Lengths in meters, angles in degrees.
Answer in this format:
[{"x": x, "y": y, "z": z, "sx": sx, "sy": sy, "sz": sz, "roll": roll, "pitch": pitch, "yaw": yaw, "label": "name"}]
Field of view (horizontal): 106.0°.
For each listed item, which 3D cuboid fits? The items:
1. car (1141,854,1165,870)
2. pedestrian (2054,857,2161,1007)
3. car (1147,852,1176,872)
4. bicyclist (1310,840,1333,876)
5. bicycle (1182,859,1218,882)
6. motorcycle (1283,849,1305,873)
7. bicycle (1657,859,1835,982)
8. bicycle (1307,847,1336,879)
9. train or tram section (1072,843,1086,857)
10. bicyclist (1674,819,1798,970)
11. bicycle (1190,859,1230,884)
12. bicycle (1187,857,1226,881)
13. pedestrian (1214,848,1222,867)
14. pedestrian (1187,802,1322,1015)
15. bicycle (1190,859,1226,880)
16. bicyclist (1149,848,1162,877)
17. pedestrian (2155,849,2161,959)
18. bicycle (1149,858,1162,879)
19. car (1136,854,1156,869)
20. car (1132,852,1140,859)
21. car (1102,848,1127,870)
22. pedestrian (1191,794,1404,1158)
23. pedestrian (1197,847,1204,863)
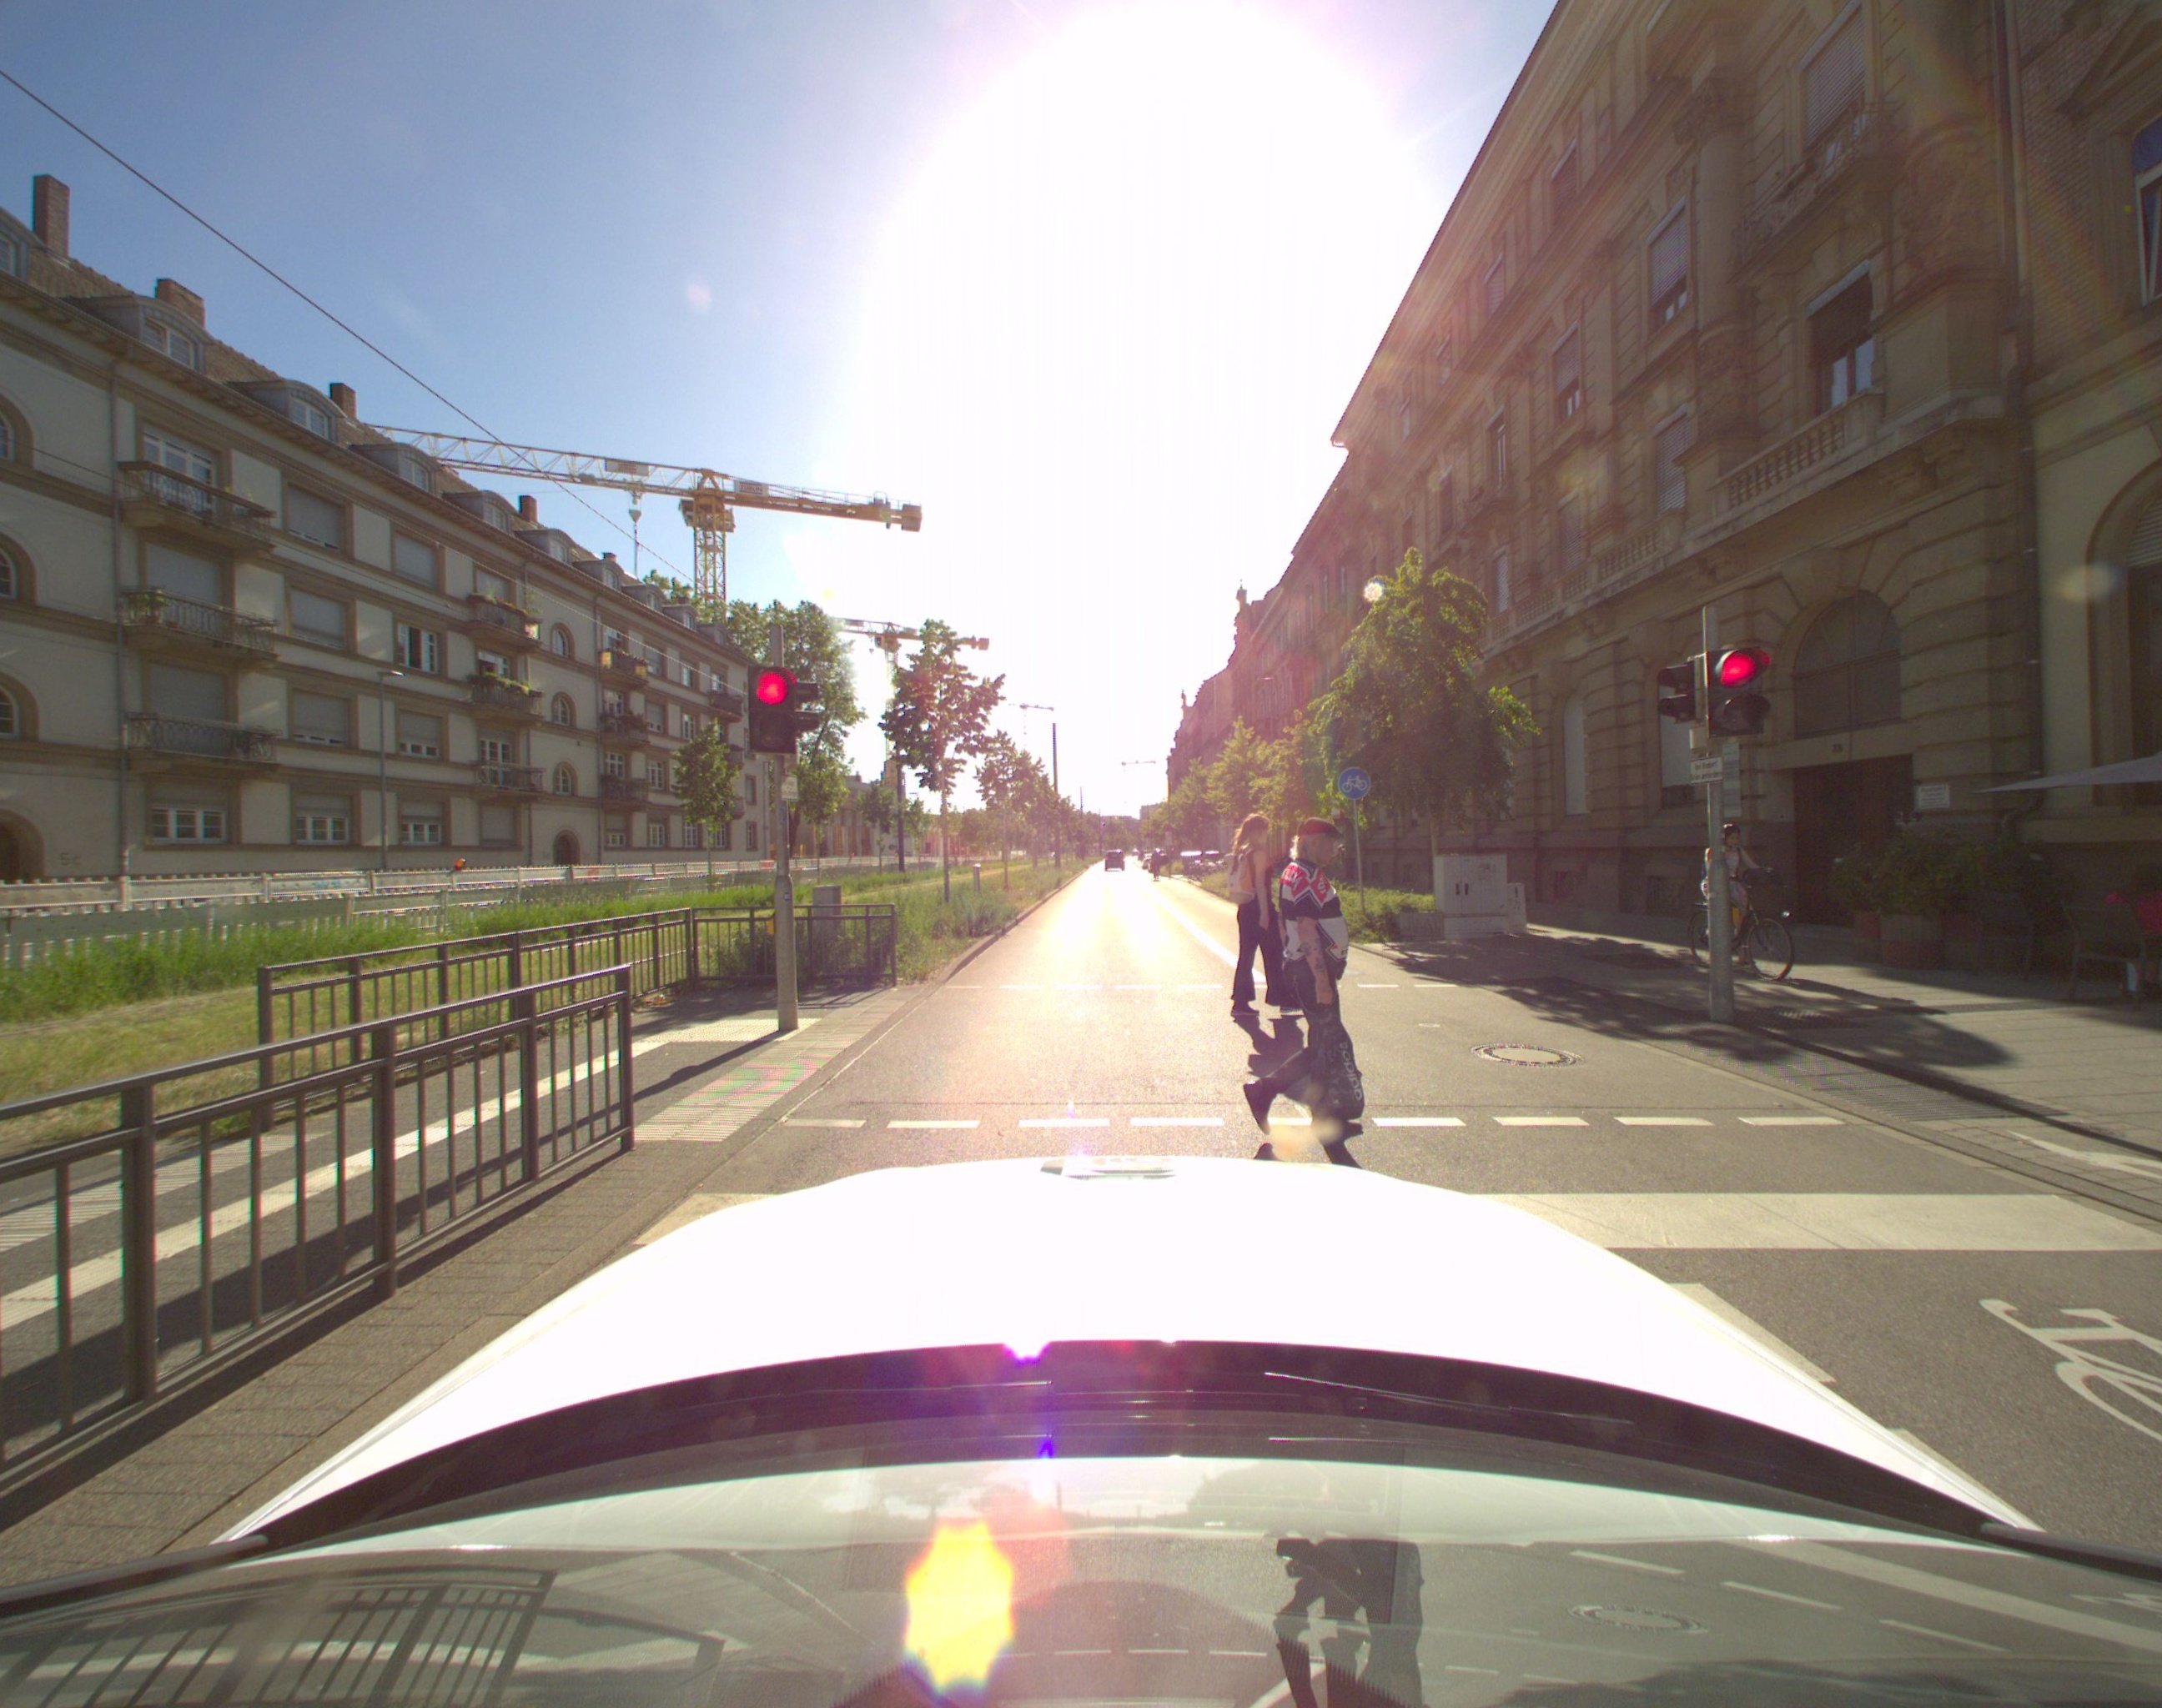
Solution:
[{"x": 6.997, "y": 0.738, "z": 79.790, "sx": 2.020, "sy": 1.499, "sz": 4.532, "roll": -2, "pitch": 0, "yaw": 2, "label": "car"}, {"x": 9.051, "y": 0.632, "z": 6.939, "sx": 0.703, "sy": 1.178, "sz": 0.635, "roll": -3, "pitch": 0, "yaw": 1, "label": "pedestrian"}, {"x": 6.618, "y": 0.636, "z": 67.397, "sx": 2.020, "sy": 1.499, "sz": 4.655, "roll": -2, "pitch": 0, "yaw": 2, "label": "car"}, {"x": 10.733, "y": 0.195, "z": 36.347, "sx": 0.658, "sy": 1.530, "sz": 0.800, "roll": -6, "pitch": 0, "yaw": 0, "label": "bicyclist"}, {"x": 6.413, "y": 0.891, "z": 43.944, "sx": 1.786, "sy": 1.030, "sz": 0.528, "roll": -6, "pitch": 0, "yaw": 1, "label": "bicycle"}, {"x": 11.527, "y": 0.381, "z": 44.042, "sx": 0.697, "sy": 1.267, "sz": 1.983, "roll": -2, "pitch": 0, "yaw": 2, "label": "motorcycle"}, {"x": 7.529, "y": 0.694, "z": 9.344, "sx": 0.580, "sy": 1.222, "sz": 1.902, "roll": -2, "pitch": 0, "yaw": 5, "label": "bicycle"}, {"x": 10.749, "y": 0.401, "z": 36.406, "sx": 0.613, "sy": 1.330, "sz": 1.899, "roll": -6, "pitch": 0, "yaw": 0, "label": "bicycle"}, {"x": -0.416, "y": -0.774, "z": 165.966, "sx": 2.746, "sy": 2.743, "sz": 9.864, "roll": 0, "pitch": -1, "yaw": 1, "label": "train or tram section"}, {"x": 7.502, "y": 0.442, "z": 9.378, "sx": 0.663, "sy": 1.639, "sz": 0.962, "roll": -2, "pitch": 0, "yaw": 5, "label": "bicyclist"}, {"x": 6.265, "y": 0.852, "z": 39.599, "sx": 1.786, "sy": 1.030, "sz": 0.528, "roll": -6, "pitch": 0, "yaw": 1, "label": "bicycle"}, {"x": 6.294, "y": 0.752, "z": 40.973, "sx": 1.786, "sy": 1.030, "sz": 0.528, "roll": -6, "pitch": 0, "yaw": 1, "label": "bicycle"}, {"x": 11.620, "y": 0.296, "z": 69.097, "sx": 0.611, "sy": 1.611, "sz": 0.669, "roll": -2, "pitch": 0, "yaw": 1, "label": "pedestrian"}, {"x": 1.632, "y": 0.495, "z": 7.780, "sx": 1.073, "sy": 1.908, "sz": 0.652, "roll": -2, "pitch": 0, "yaw": -5, "label": "pedestrian"}, {"x": 6.653, "y": 0.806, "z": 42.563, "sx": 1.786, "sy": 1.030, "sz": 0.528, "roll": -2, "pitch": 0, "yaw": 1, "label": "bicycle"}, {"x": 4.357, "y": 0.509, "z": 47.790, "sx": 0.681, "sy": 1.673, "sz": 0.922, "roll": 0, "pitch": 0, "yaw": 1, "label": "bicyclist"}, {"x": 9.944, "y": 0.552, "z": 6.929, "sx": 0.703, "sy": 1.236, "sz": 0.635, "roll": -3, "pitch": 0, "yaw": 1, "label": "pedestrian"}, {"x": 4.338, "y": 0.830, "z": 47.579, "sx": 0.599, "sy": 1.181, "sz": 1.870, "roll": 0, "pitch": 0, "yaw": 1, "label": "bicycle"}, {"x": 7.342, "y": 0.833, "z": 92.318, "sx": 2.020, "sy": 1.499, "sz": 4.532, "roll": -2, "pitch": 0, "yaw": 2, "label": "car"}, {"x": 14.813, "y": 0.376, "z": 217.604, "sx": 1.986, "sy": 1.729, "sz": 4.001, "roll": 0, "pitch": -1, "yaw": 2, "label": "car"}, {"x": 3.065, "y": 0.427, "z": 75.109, "sx": 2.192, "sy": 1.926, "sz": 4.655, "roll": -2, "pitch": 0, "yaw": 2, "label": "car"}, {"x": 1.145, "y": 0.596, "z": 4.525, "sx": 0.863, "sy": 1.788, "sz": 0.969, "roll": -1, "pitch": 0, "yaw": -5, "label": "pedestrian"}, {"x": 12.488, "y": 0.109, "z": 85.332, "sx": 0.611, "sy": 1.611, "sz": 0.669, "roll": -2, "pitch": 0, "yaw": 1, "label": "pedestrian"}]
